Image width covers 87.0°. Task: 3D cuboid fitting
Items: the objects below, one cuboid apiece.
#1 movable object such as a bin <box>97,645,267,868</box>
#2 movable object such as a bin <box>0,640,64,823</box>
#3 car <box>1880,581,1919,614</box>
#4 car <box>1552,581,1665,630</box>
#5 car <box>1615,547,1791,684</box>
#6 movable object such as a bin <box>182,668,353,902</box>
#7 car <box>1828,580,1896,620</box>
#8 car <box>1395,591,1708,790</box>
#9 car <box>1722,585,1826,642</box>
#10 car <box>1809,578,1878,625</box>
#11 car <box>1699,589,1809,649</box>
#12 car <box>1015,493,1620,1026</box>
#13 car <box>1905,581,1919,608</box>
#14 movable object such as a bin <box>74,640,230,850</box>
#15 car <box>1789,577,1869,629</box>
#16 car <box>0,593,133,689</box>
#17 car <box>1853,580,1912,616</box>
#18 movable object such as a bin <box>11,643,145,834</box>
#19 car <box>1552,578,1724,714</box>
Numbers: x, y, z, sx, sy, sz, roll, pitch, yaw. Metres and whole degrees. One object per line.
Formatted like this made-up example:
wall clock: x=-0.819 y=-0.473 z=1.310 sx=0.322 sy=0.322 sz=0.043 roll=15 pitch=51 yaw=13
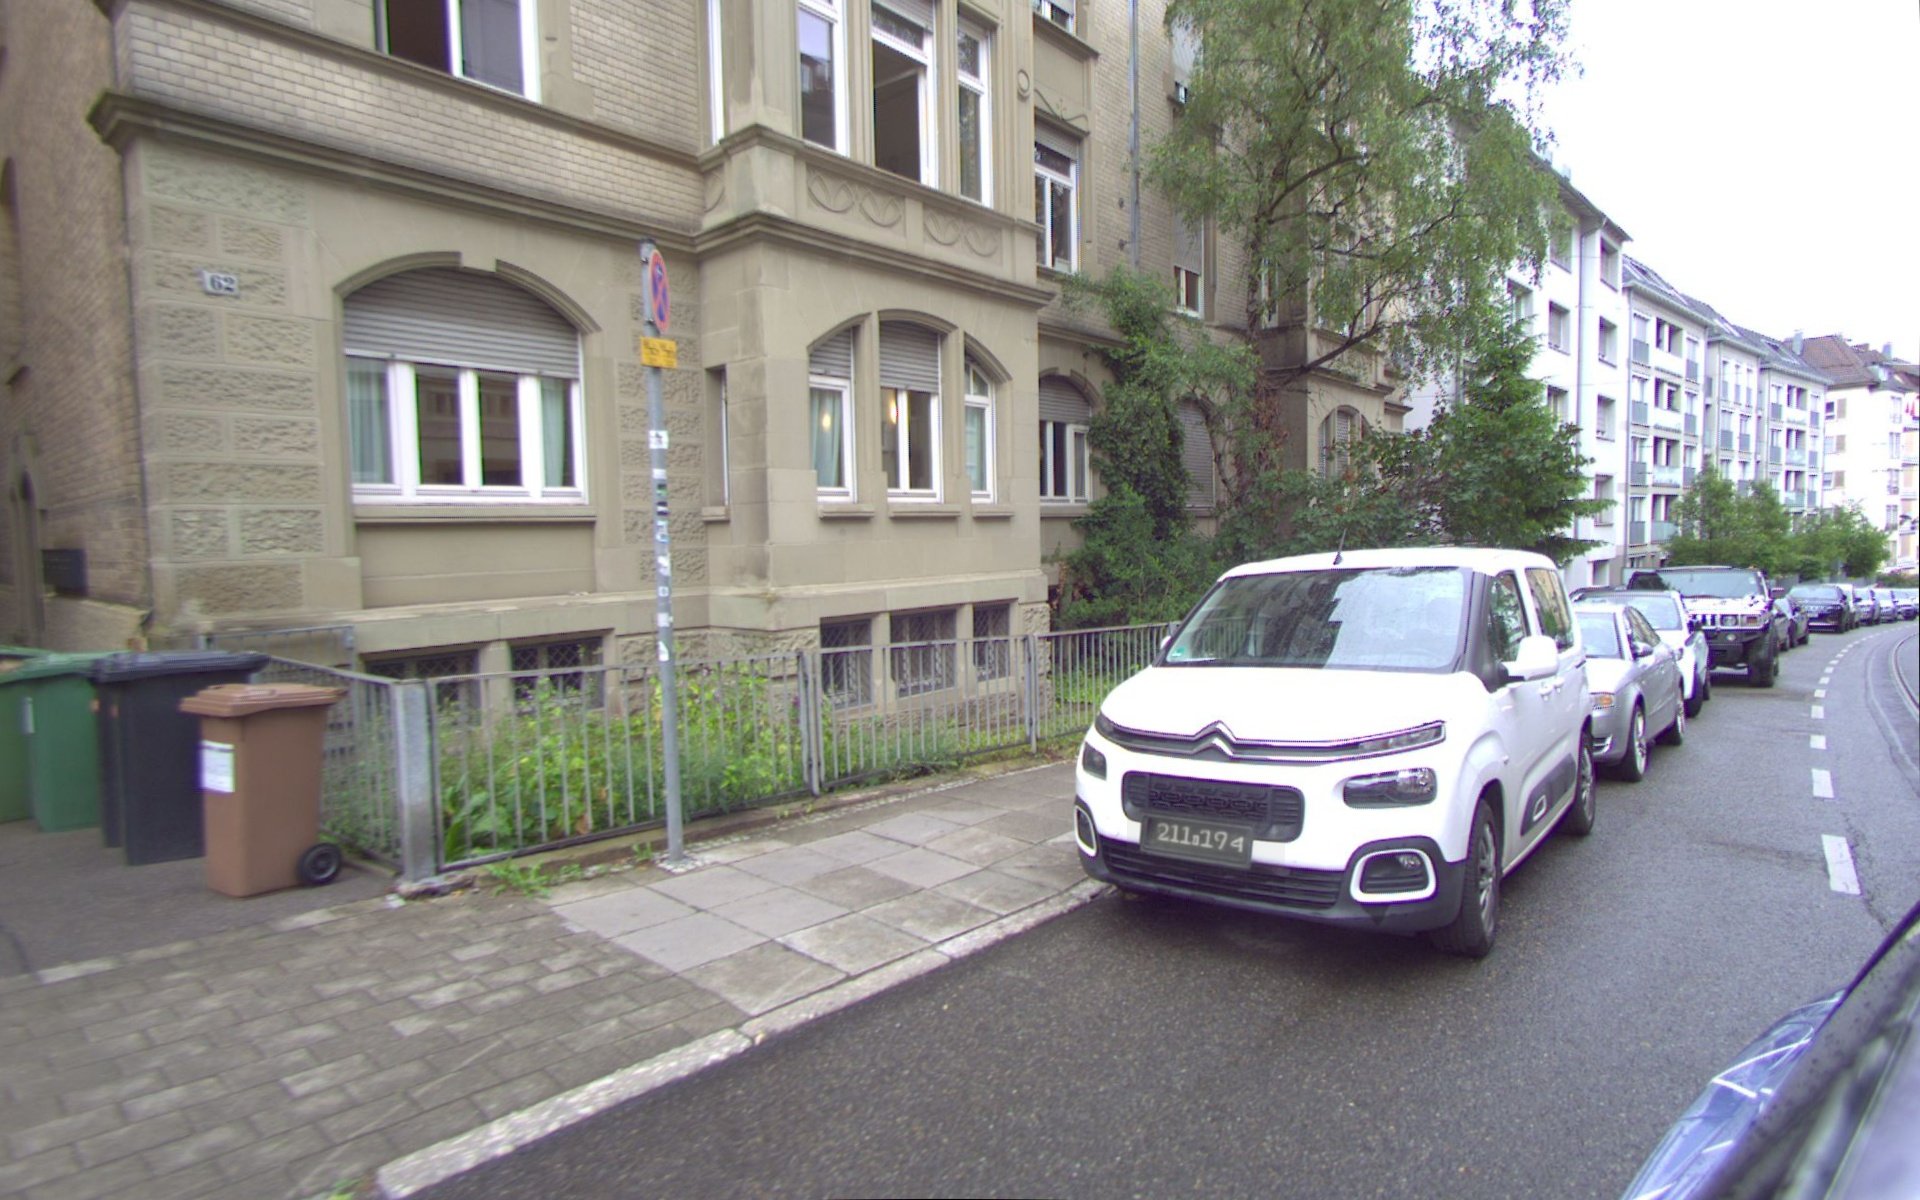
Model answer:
movable object such as a bin: x=-4.094 y=0.777 z=5.325 sx=0.653 sy=1.043 sz=0.528 roll=-1 pitch=-1 yaw=-43
movable object such as a bin: x=-6.099 y=0.826 z=6.479 sx=0.518 sy=1.116 sz=0.471 roll=-3 pitch=-1 yaw=42
car: x=49.277 y=-0.141 z=52.686 sx=1.975 sy=1.604 sz=4.495 roll=2 pitch=2 yaw=43
car: x=20.274 y=0.146 z=31.592 sx=4.079 sy=1.444 sz=1.816 roll=-1 pitch=0 yaw=-39
car: x=13.220 y=0.204 z=17.855 sx=2.126 sy=2.039 sz=5.272 roll=-1 pitch=0 yaw=40
movable object such as a bin: x=-3.169 y=0.809 z=4.639 sx=0.425 sy=0.931 sz=0.530 roll=3 pitch=2 yaw=38
car: x=40.675 y=-0.056 z=45.579 sx=4.608 sy=1.676 sz=1.834 roll=-1 pitch=2 yaw=-43
car: x=5.795 y=0.652 z=9.628 sx=1.747 sy=1.418 sz=4.411 roll=-1 pitch=0 yaw=41
car: x=22.963 y=0.317 z=28.482 sx=4.535 sy=1.455 sz=1.795 roll=-1 pitch=1 yaw=-45
car: x=36.475 y=0.014 z=41.737 sx=4.398 sy=1.817 sz=1.780 roll=-1 pitch=2 yaw=-44
car: x=19.826 y=0.410 z=25.217 sx=3.819 sy=1.355 sz=1.679 roll=-1 pitch=1 yaw=-44
car: x=2.338 y=0.514 z=5.685 sx=1.795 sy=1.787 sz=4.399 roll=-1 pitch=0 yaw=40
car: x=56.542 y=-0.321 z=58.784 sx=4.704 sy=1.534 sz=1.862 roll=-1 pitch=2 yaw=-40
movable object such as a bin: x=-4.572 y=0.782 z=5.728 sx=0.498 sy=1.075 sz=0.600 roll=-3 pitch=-1 yaw=41
car: x=32.384 y=0.057 z=37.672 sx=1.943 sy=1.817 sz=4.744 roll=1 pitch=2 yaw=45
car: x=-17.699 y=0.678 z=18.360 sx=3.933 sy=1.529 sz=1.796 roll=7 pitch=-1 yaw=-45
car: x=44.990 y=-0.123 z=49.340 sx=4.587 sy=1.648 sz=1.834 roll=-1 pitch=2 yaw=-44
movable object such as a bin: x=-5.422 y=0.818 z=6.222 sx=0.495 sy=1.075 sz=0.547 roll=-3 pitch=-1 yaw=41
car: x=9.133 y=0.511 z=13.529 sx=1.557 sy=1.565 sz=3.533 roll=-1 pitch=0 yaw=40
